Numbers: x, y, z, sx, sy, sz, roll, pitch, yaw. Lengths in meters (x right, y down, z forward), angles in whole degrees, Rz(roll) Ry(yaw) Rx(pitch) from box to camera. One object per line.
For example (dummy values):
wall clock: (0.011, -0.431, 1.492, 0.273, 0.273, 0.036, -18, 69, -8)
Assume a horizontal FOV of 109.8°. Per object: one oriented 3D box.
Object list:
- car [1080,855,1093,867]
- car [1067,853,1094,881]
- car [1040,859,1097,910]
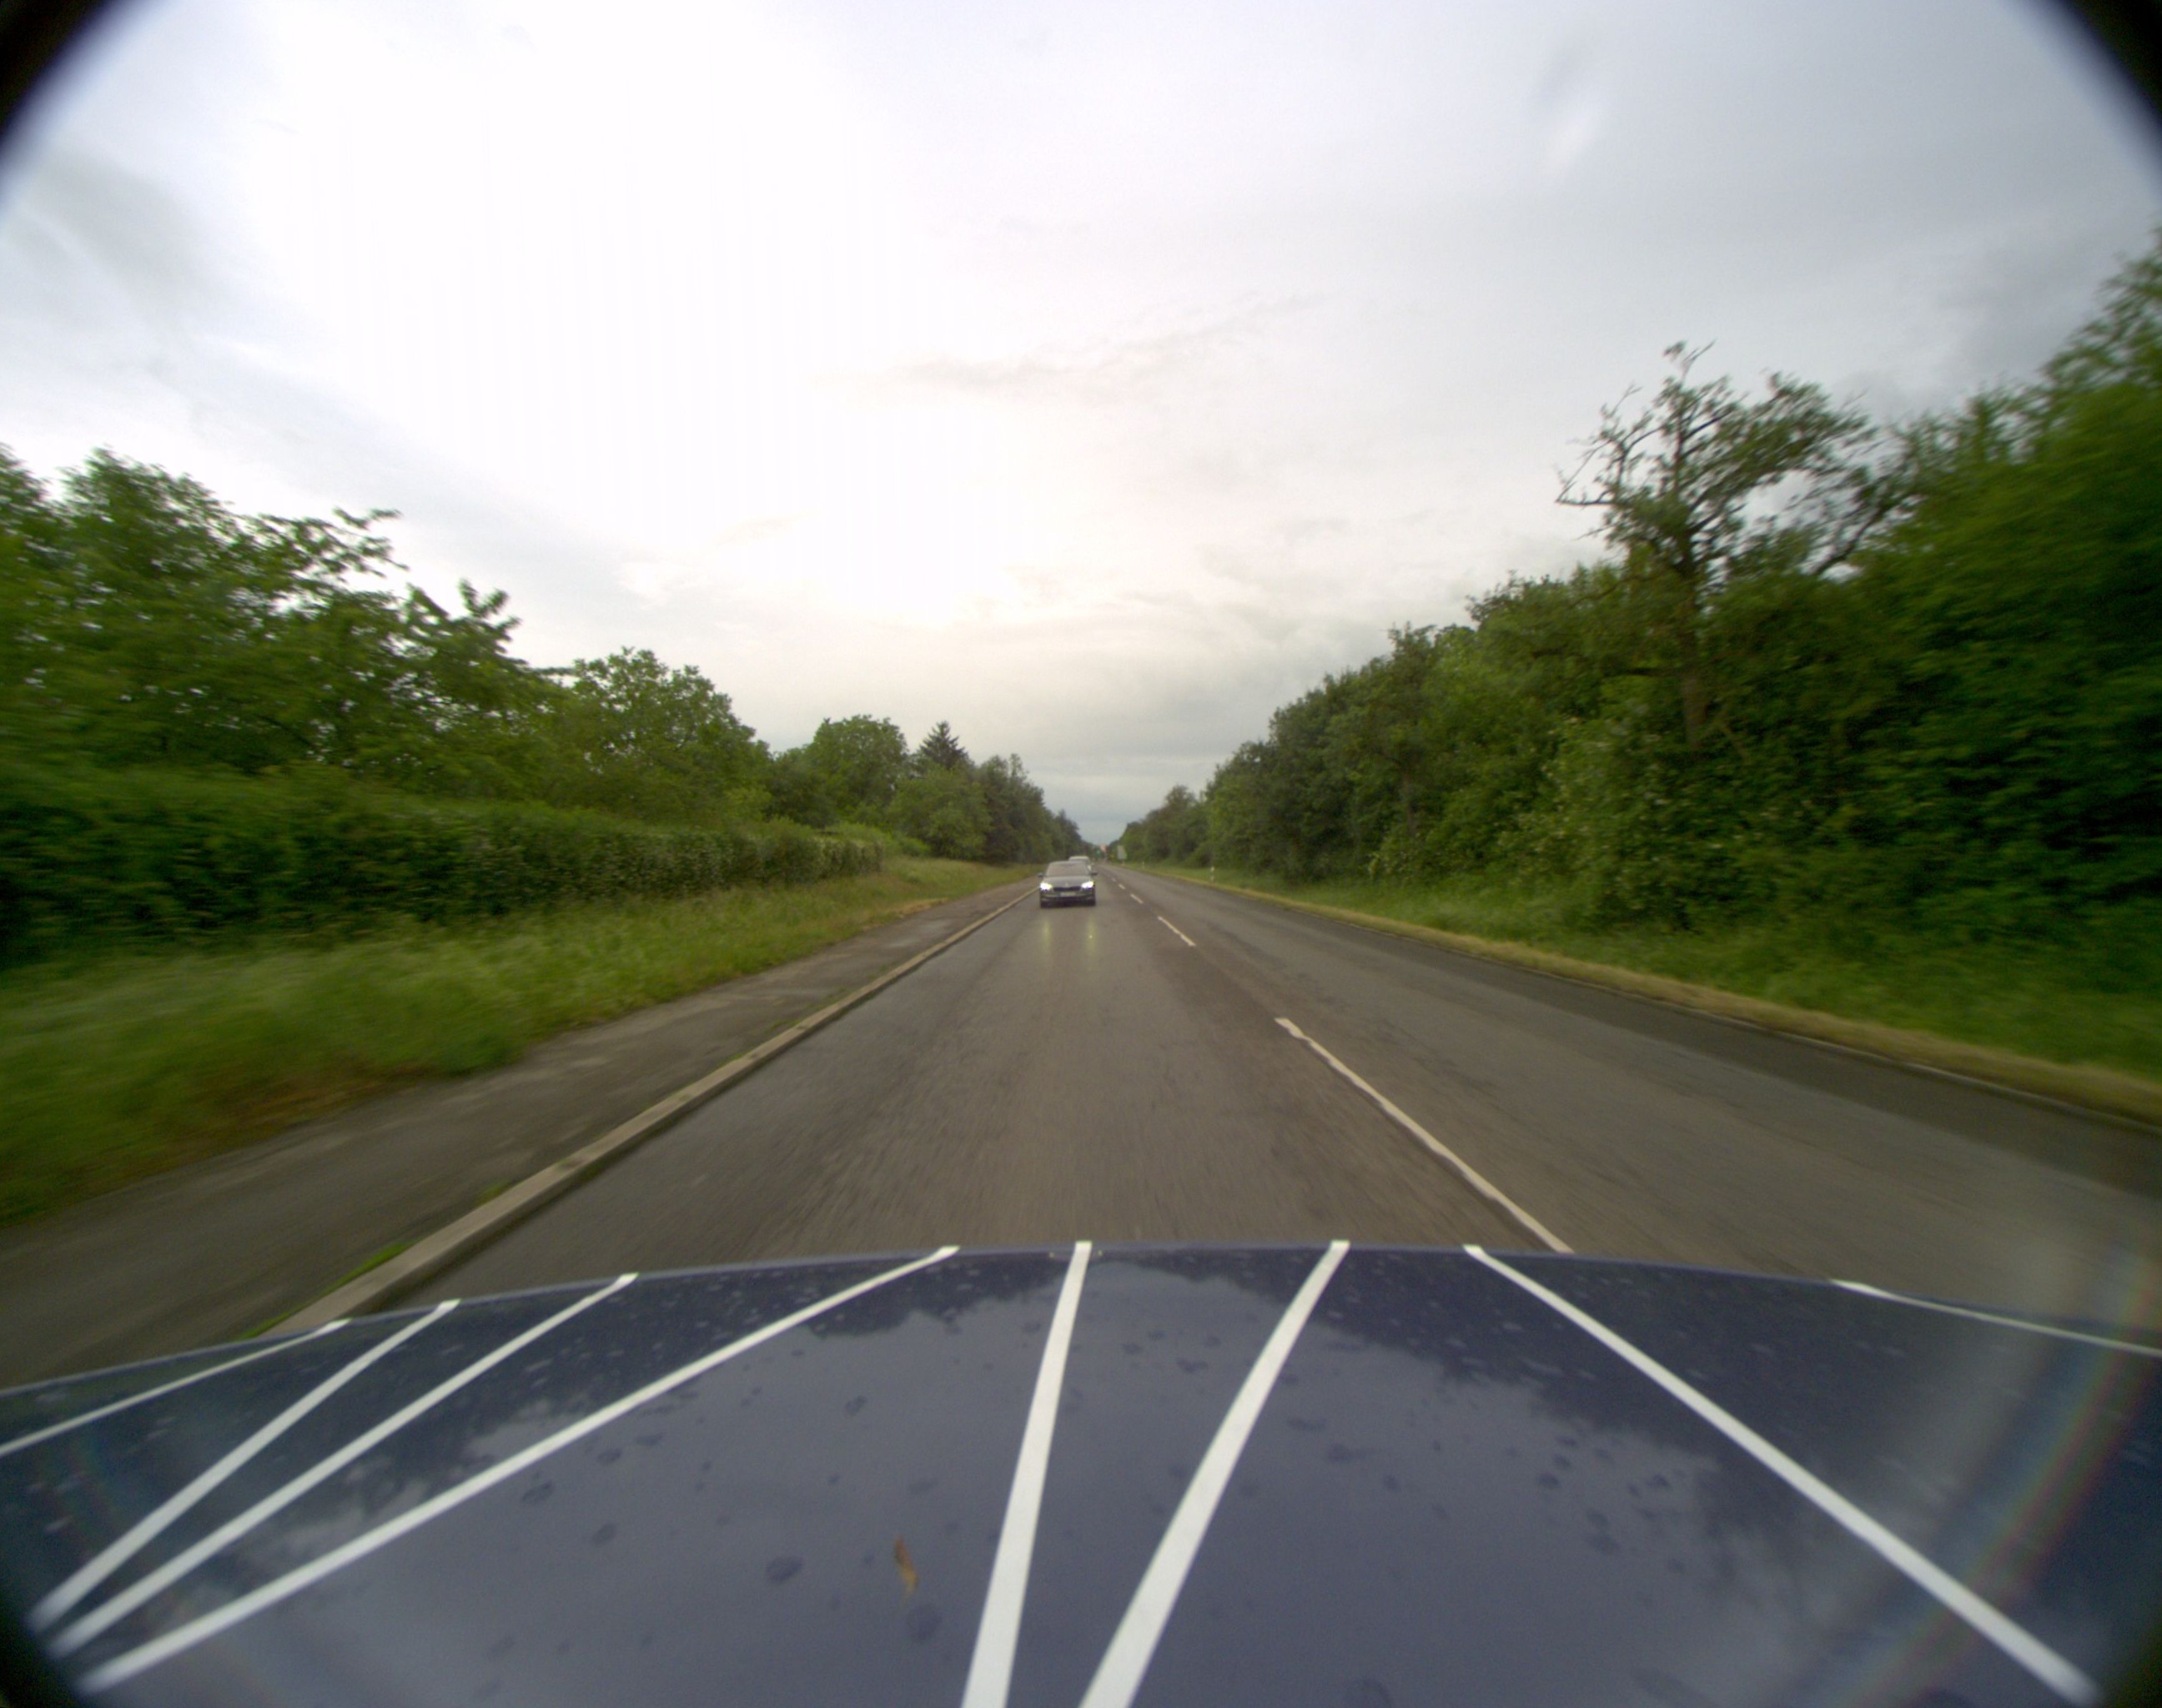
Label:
car: (0.826, 1.076, 113.475, 1.856, 1.686, 4.000, 0, 0, 1)
car: (-0.050, 0.811, 49.522, 1.704, 1.723, 4.000, -1, 0, 0)
car: (-0.373, 0.951, 25.462, 1.675, 1.477, 4.215, -3, -1, 1)
